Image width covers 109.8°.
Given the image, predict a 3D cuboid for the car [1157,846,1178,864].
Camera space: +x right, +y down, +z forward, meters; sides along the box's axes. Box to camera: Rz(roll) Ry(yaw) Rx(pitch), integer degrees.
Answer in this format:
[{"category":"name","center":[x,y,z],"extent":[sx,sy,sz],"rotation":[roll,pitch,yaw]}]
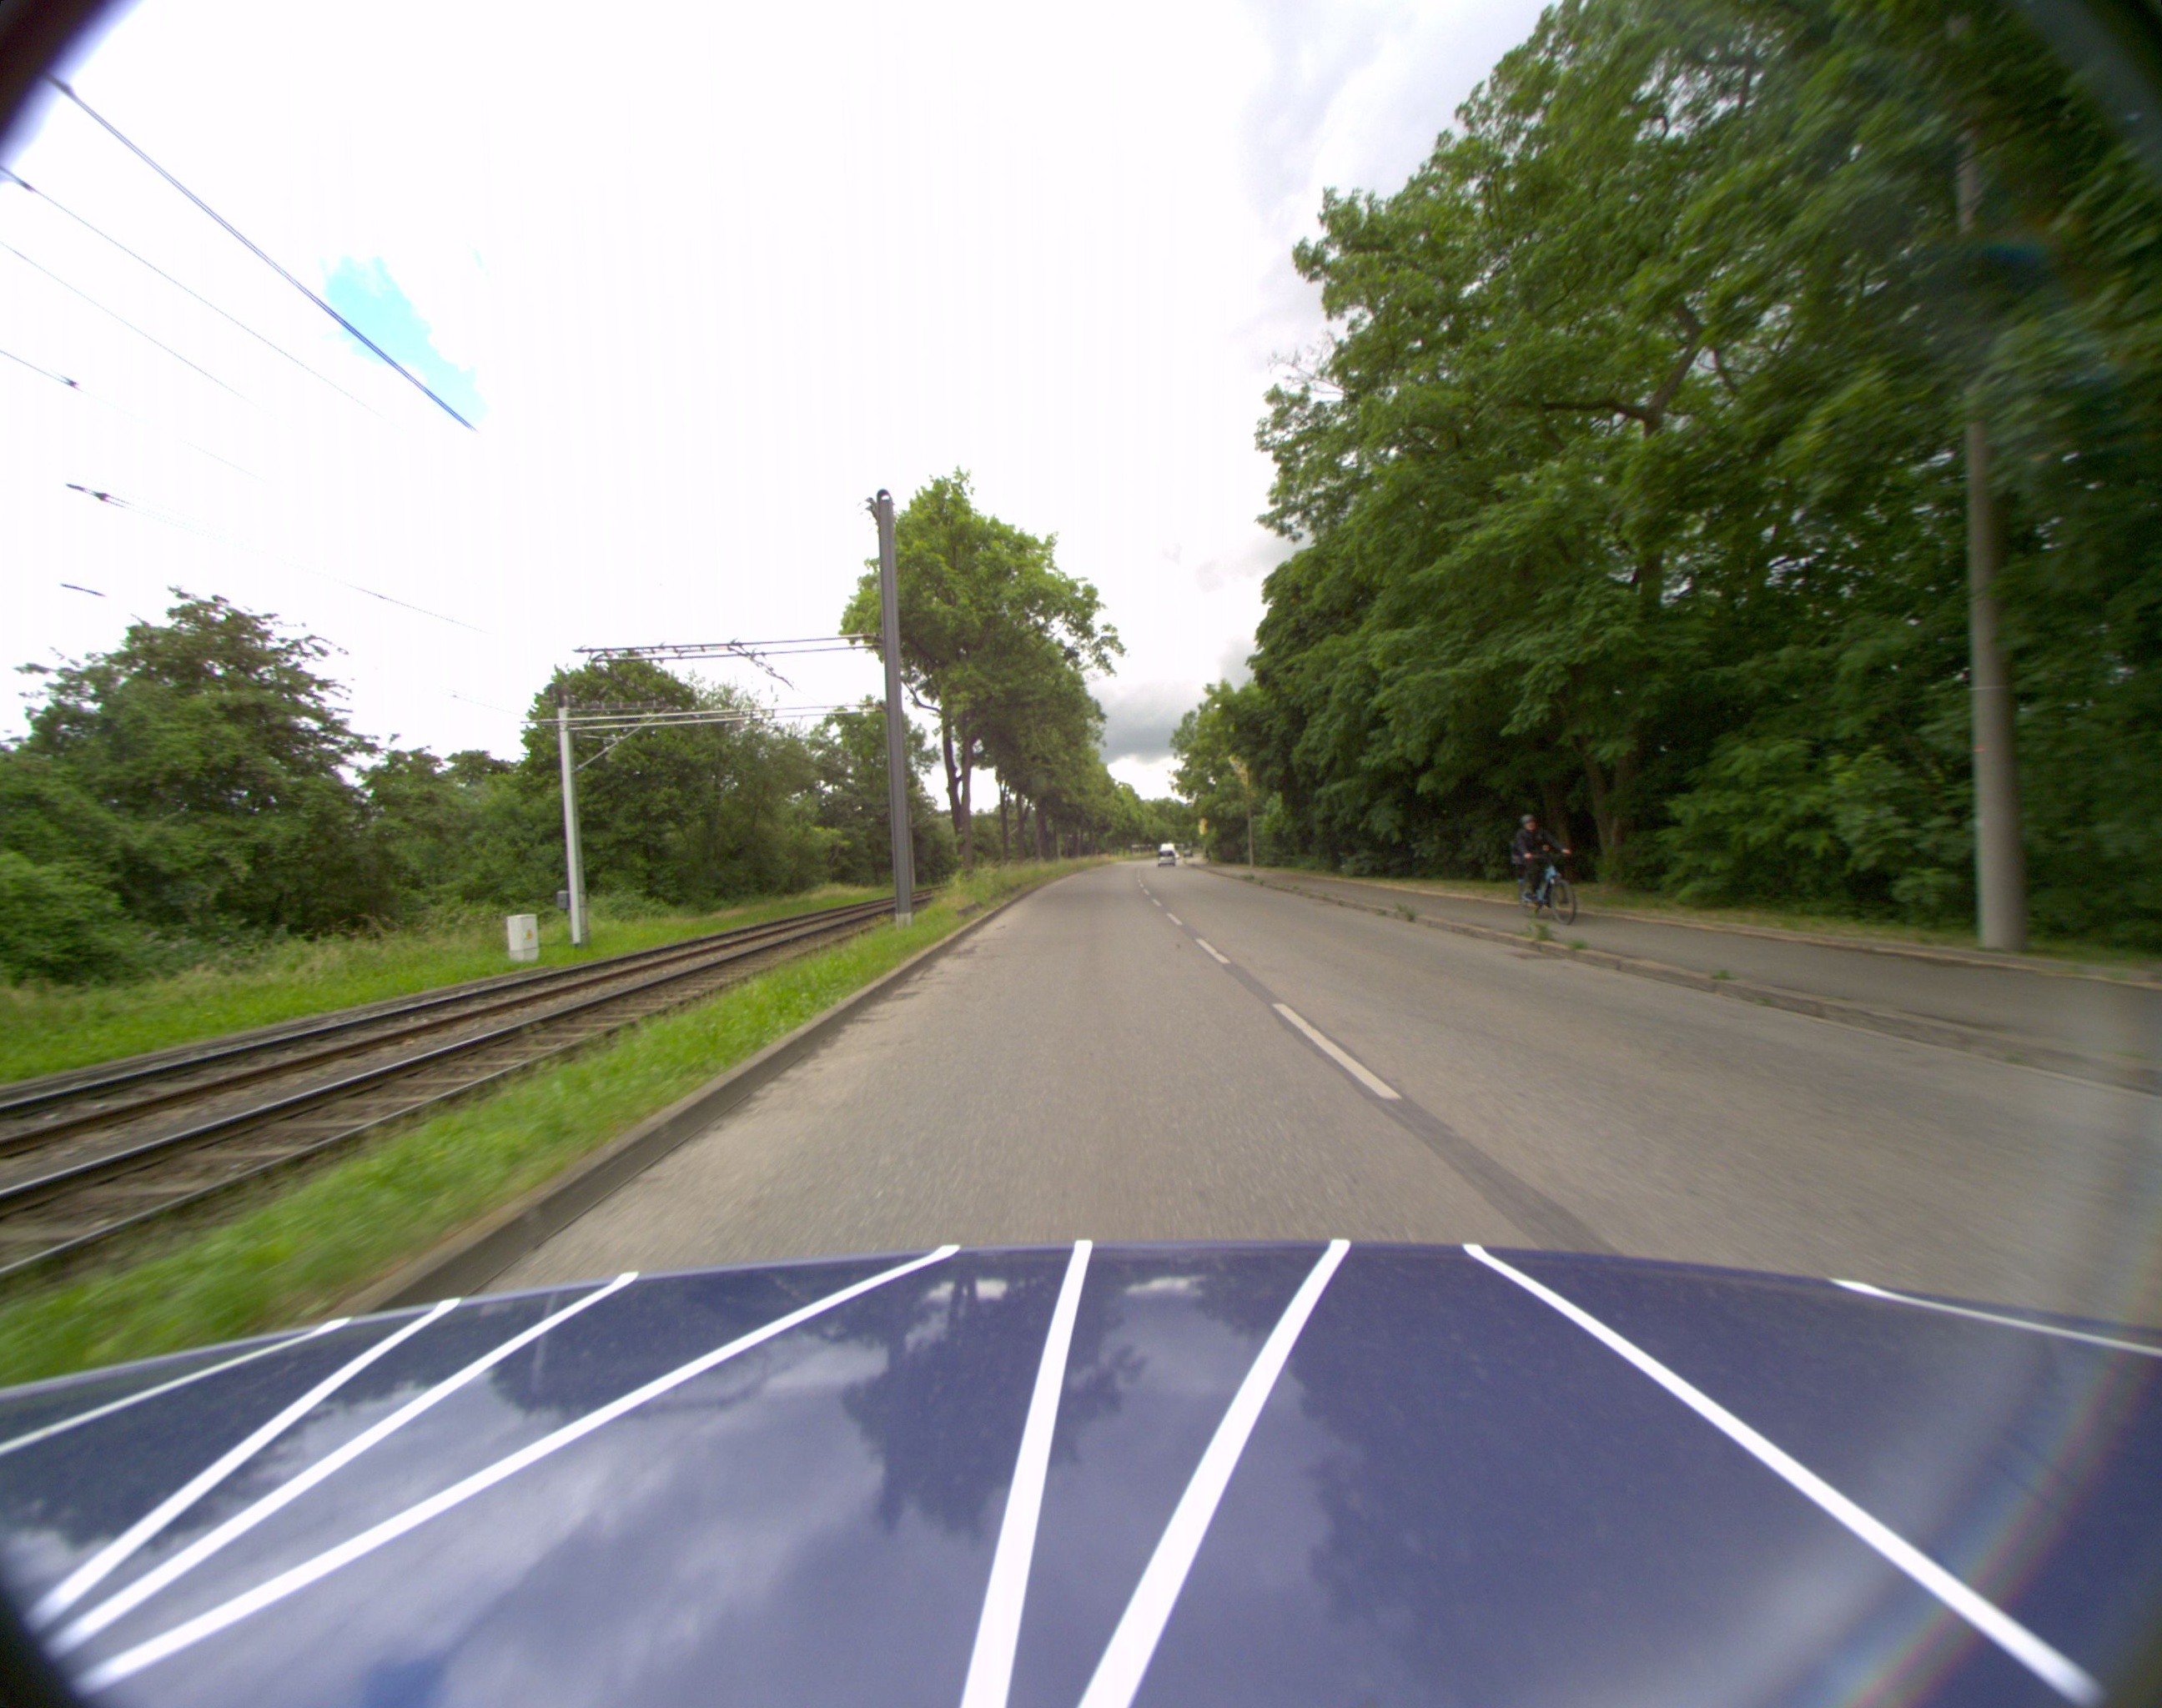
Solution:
[{"category":"car","center":[9.213,0.131,81.443],"extent":[1.860,1.788,4.557],"rotation":[-2,0,2]}]

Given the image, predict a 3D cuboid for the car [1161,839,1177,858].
[{"category":"car","center":[12.717,-0.737,109.827],"extent":[1.998,2.611,5.896],"rotation":[-1,0,4]}]

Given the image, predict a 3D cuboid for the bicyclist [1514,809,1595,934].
[{"category":"bicyclist","center":[7.728,0.269,12.434],"extent":[0.688,1.937,0.835],"rotation":[-4,1,-2]}]

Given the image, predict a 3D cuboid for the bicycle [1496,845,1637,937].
[{"category":"bicycle","center":[7.807,0.548,12.383],"extent":[0.700,1.324,2.280],"rotation":[-4,0,-2]}]

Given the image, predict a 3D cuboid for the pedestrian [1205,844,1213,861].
[{"category":"pedestrian","center":[13.585,-0.174,80.751],"extent":[0.600,1.704,0.815],"rotation":[-4,0,4]}]
